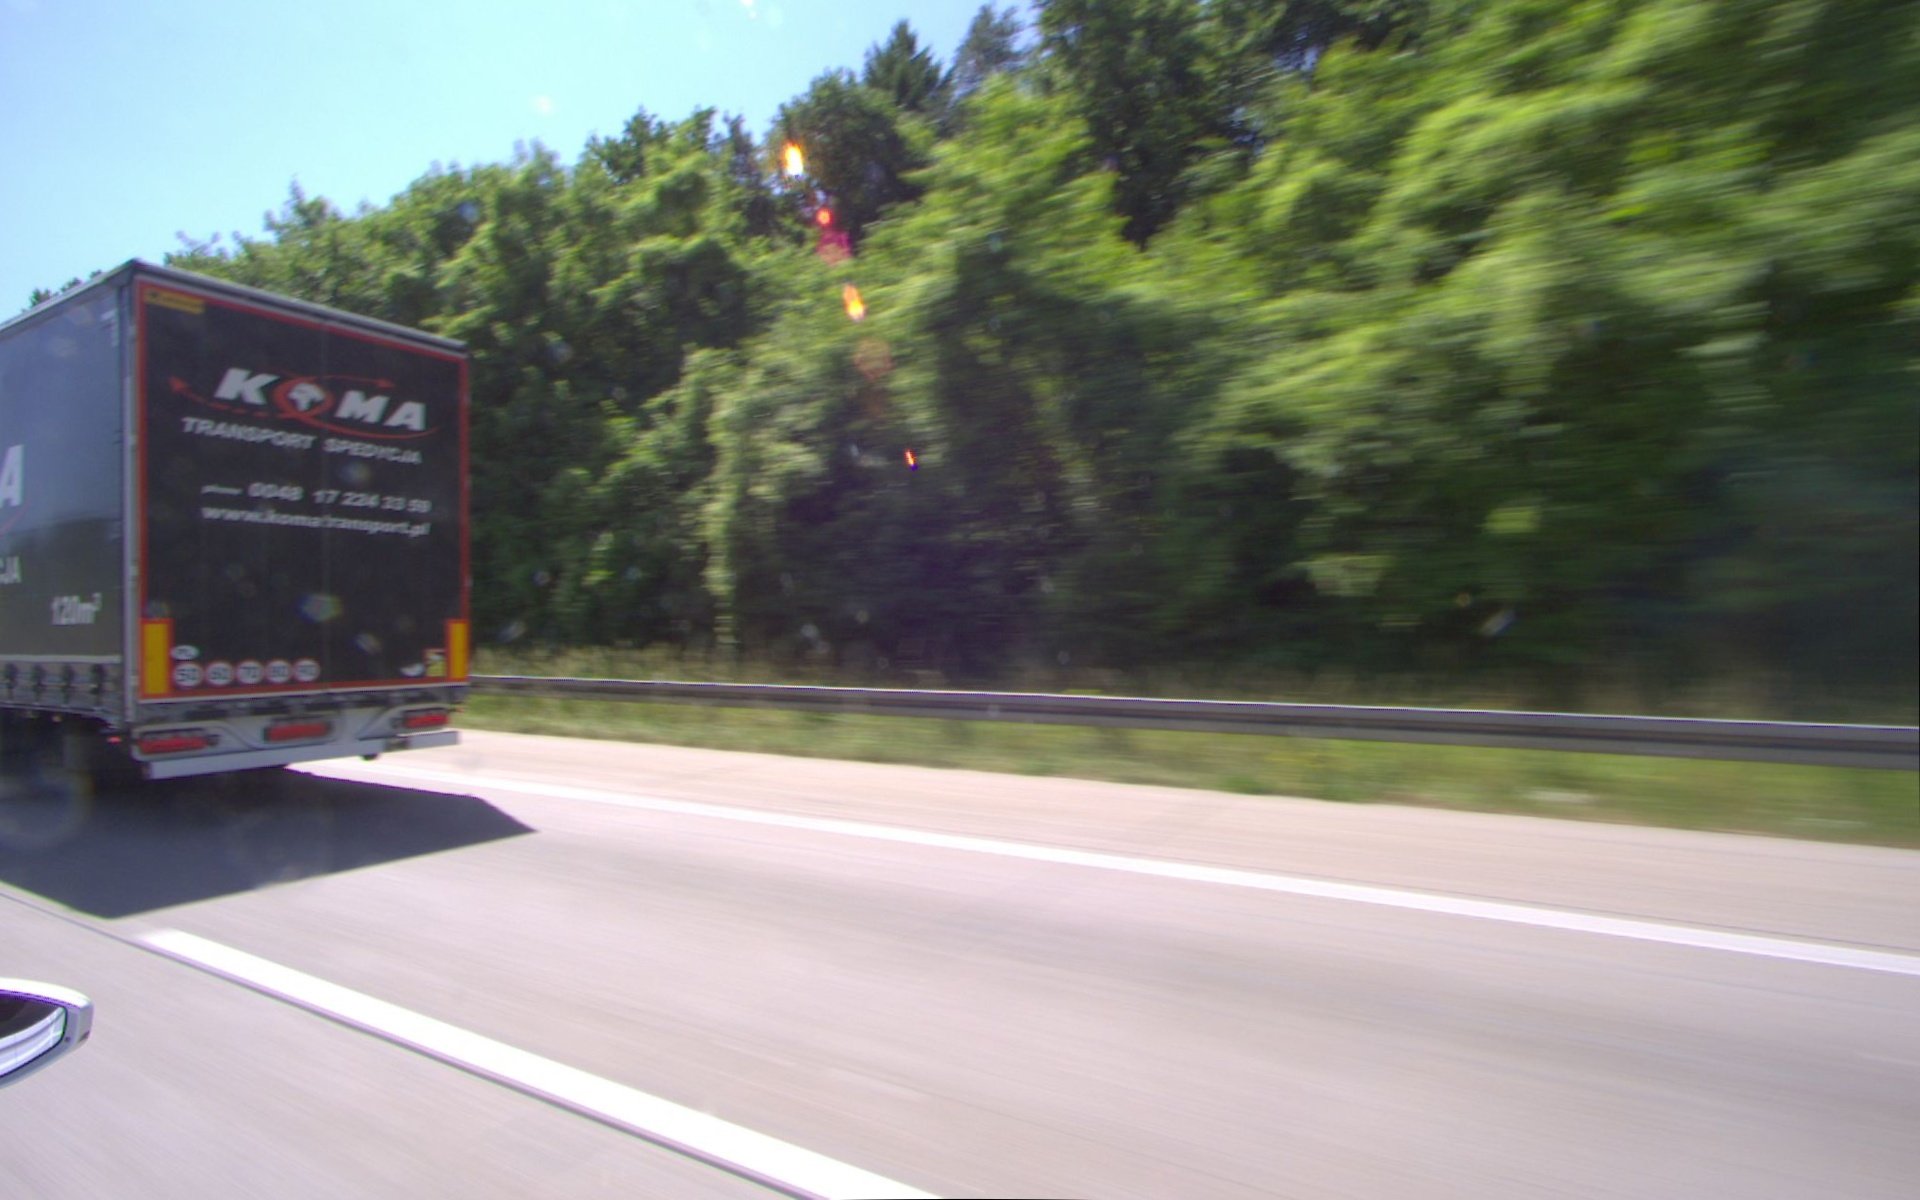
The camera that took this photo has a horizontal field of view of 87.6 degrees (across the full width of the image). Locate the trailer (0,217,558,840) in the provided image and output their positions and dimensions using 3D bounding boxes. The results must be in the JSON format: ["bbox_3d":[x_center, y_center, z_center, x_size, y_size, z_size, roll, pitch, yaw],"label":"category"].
[{"bbox_3d":[-8.318,-0.352,10.234,8.957,4.068,3.130,-1,-2,32],"label":"trailer"}]

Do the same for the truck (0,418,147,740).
[{"bbox_3d":[-16.621,-0.178,15.384,10.454,4.068,3.155,-1,-2,32],"label":"truck"}]
